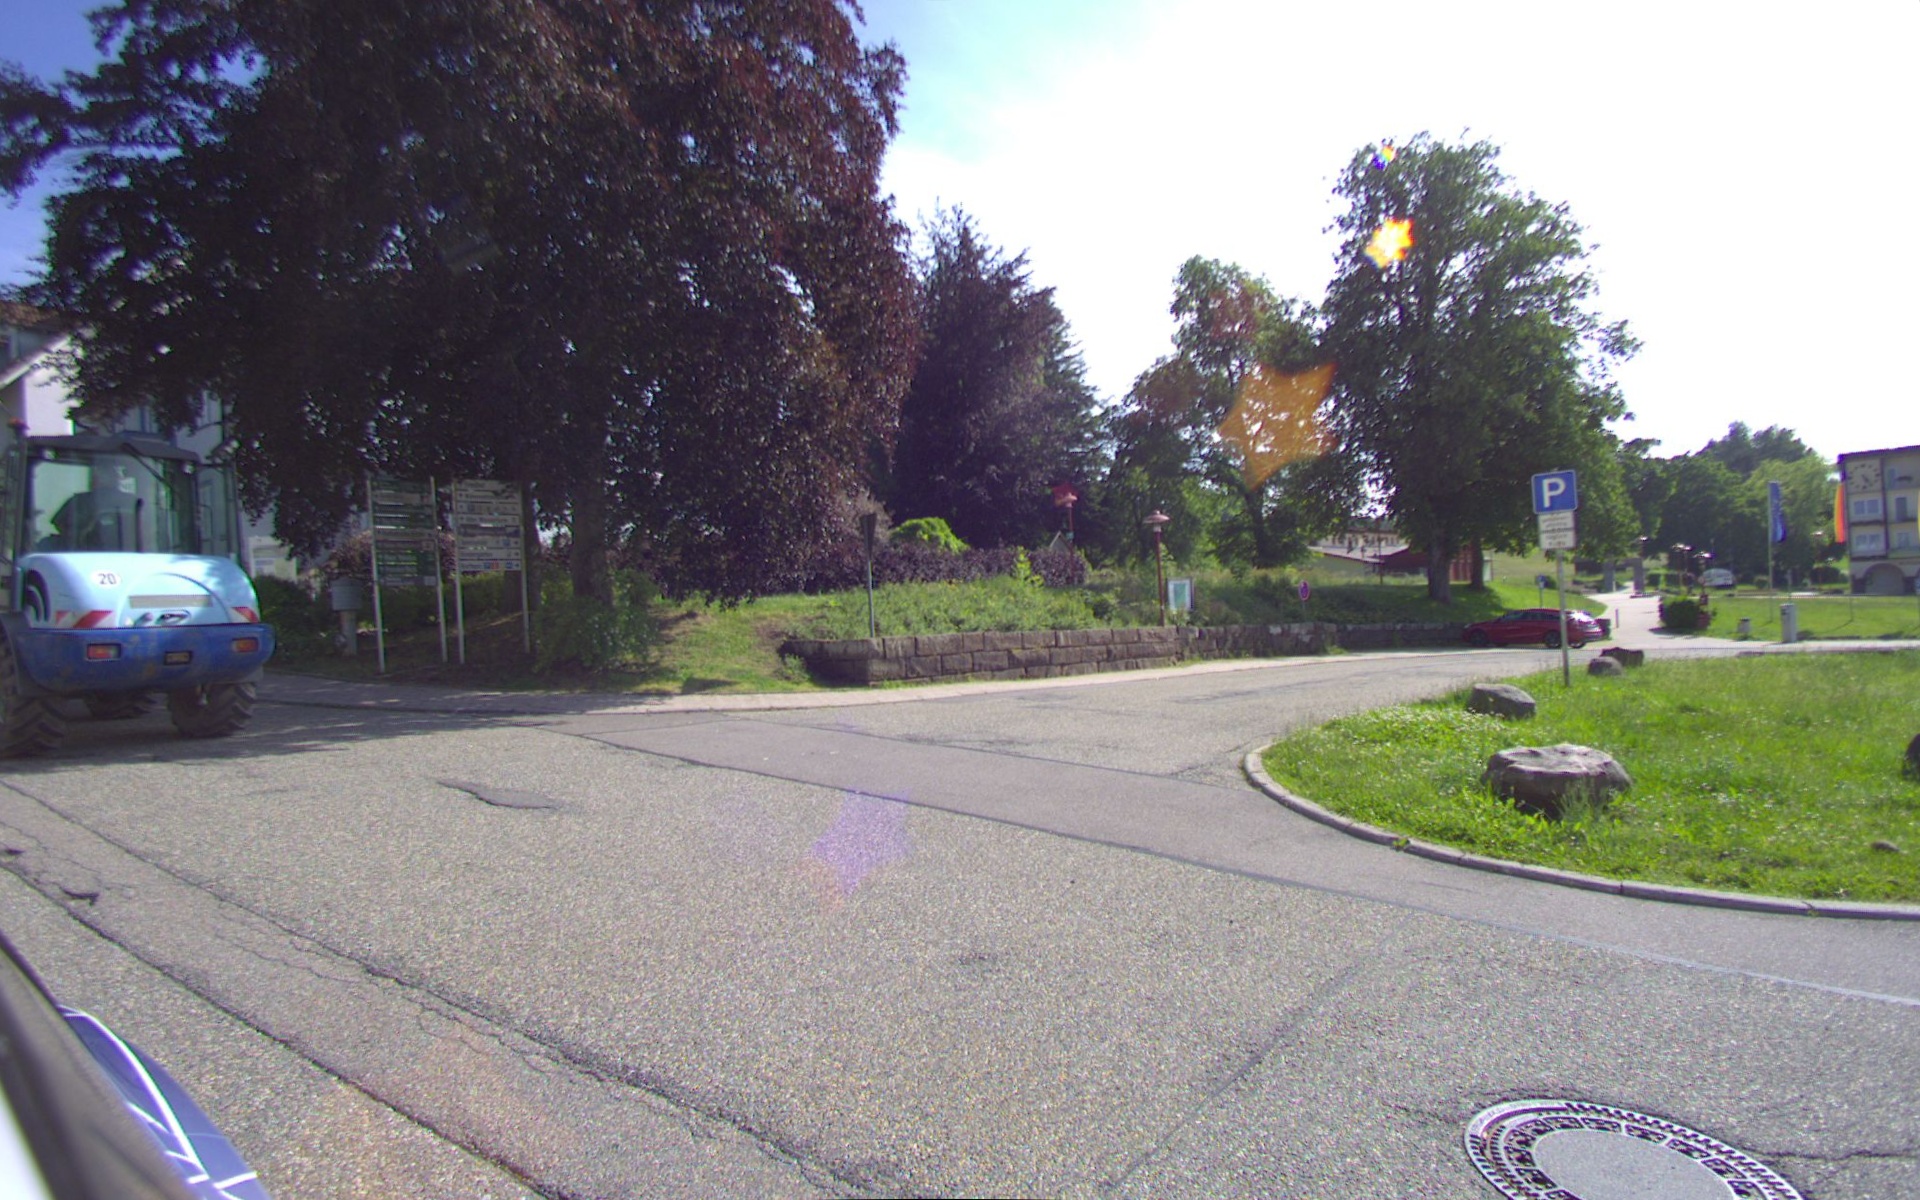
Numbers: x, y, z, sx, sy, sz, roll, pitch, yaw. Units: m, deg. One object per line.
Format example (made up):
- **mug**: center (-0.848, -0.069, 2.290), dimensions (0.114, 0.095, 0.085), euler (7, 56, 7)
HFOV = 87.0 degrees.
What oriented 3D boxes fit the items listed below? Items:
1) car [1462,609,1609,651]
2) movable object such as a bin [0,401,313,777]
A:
- **car**: center (20.658, 1.052, 36.483), dimensions (1.793, 1.409, 4.251), euler (0, -1, -32)
- **movable object such as a bin**: center (-8.600, -0.115, 9.690), dimensions (5.086, 2.790, 1.979), euler (1, 0, 31)
